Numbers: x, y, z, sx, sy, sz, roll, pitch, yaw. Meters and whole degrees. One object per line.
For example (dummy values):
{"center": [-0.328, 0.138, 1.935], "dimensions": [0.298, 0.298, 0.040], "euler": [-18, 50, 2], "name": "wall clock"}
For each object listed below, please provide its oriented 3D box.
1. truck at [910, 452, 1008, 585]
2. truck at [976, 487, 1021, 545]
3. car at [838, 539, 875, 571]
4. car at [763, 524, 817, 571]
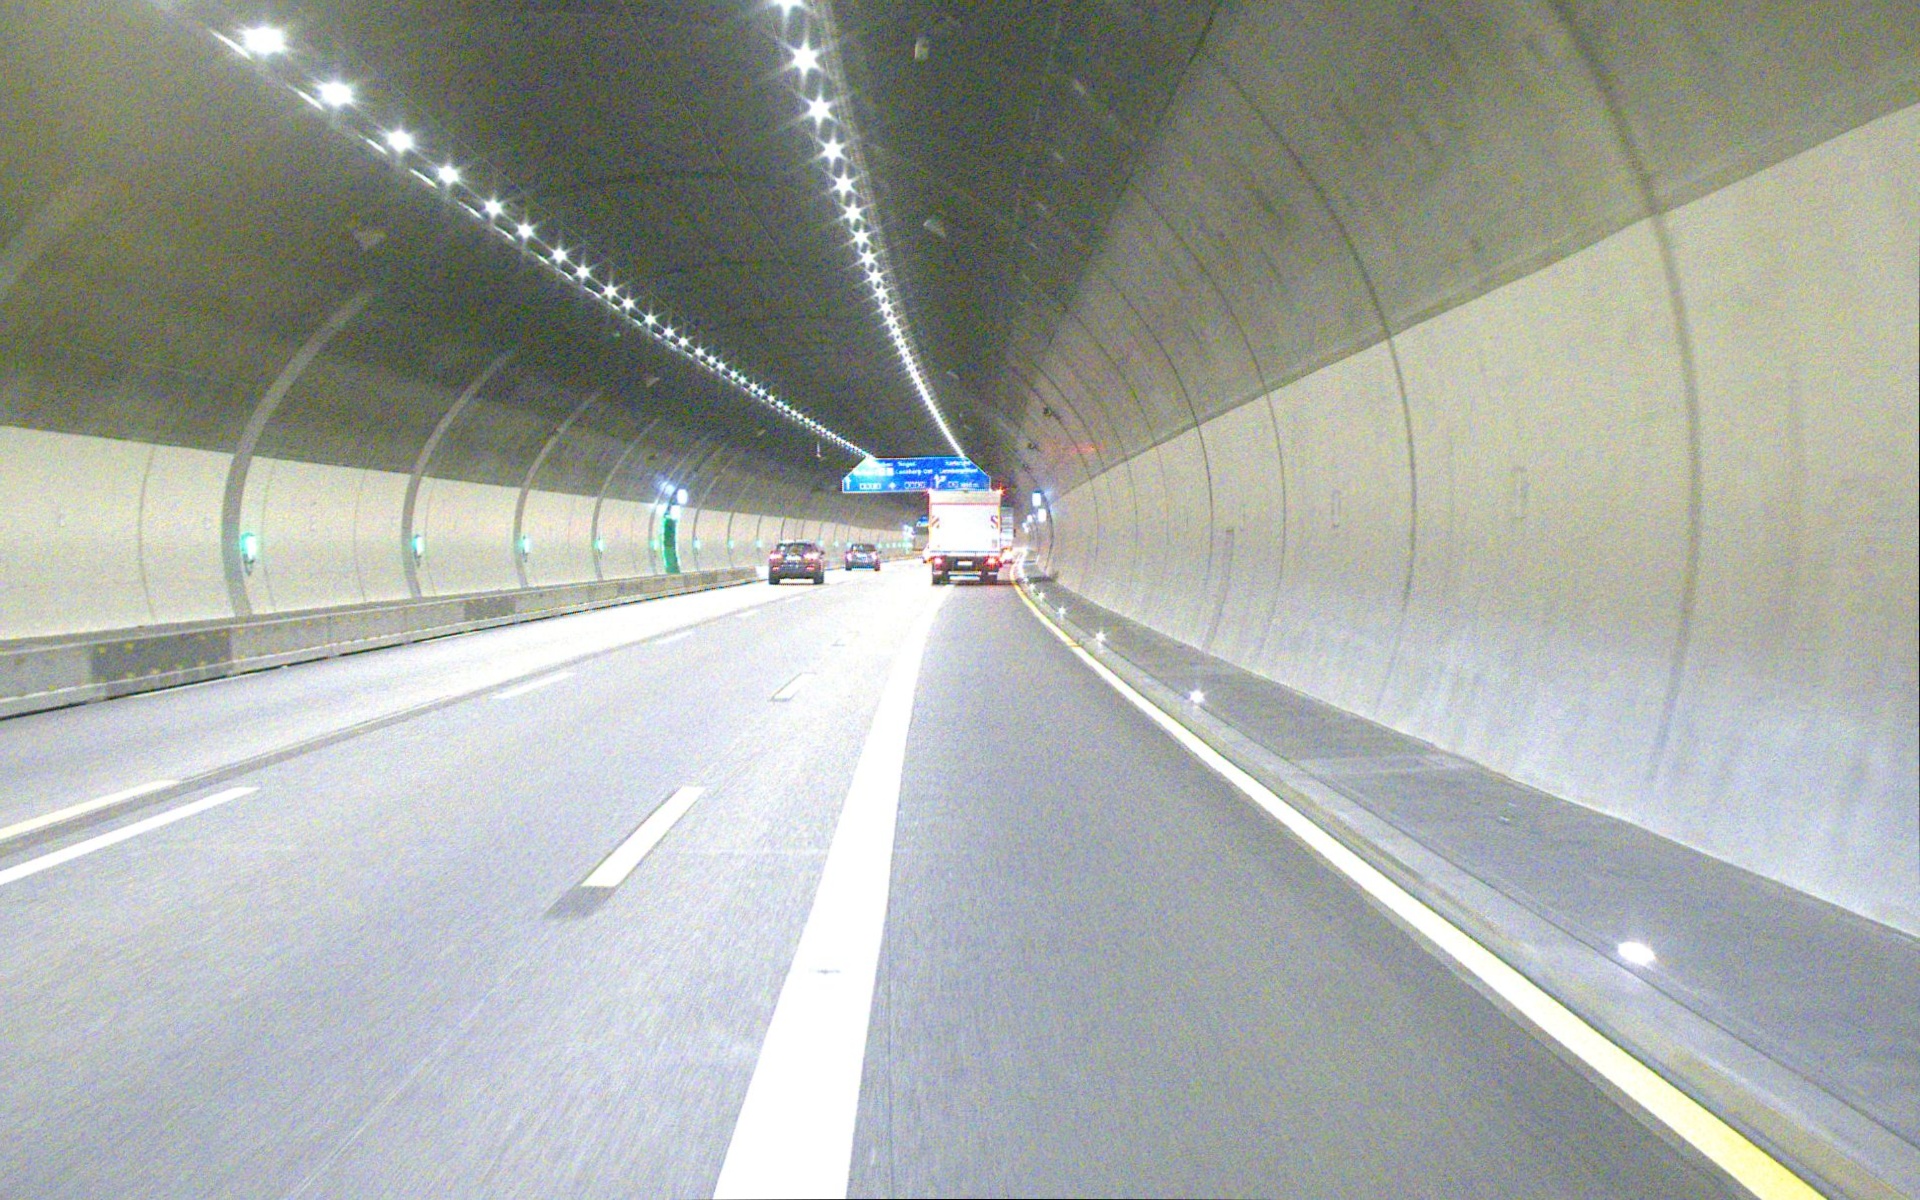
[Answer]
{"center": [-0.177, -3.063, 130.319], "dimensions": [3.278, 4.634, 17.288], "euler": [-1, 1, -1], "name": "truck"}
{"center": [2.751, -6.028, 249.106], "dimensions": [2.922, 4.034, 14.030], "euler": [-1, 1, -1], "name": "truck"}
{"center": [-5.330, -2.330, 176.978], "dimensions": [1.812, 1.514, 4.001], "euler": [0, 3, -3], "name": "car"}
{"center": [-6.031, -1.874, 122.254], "dimensions": [1.812, 1.612, 4.001], "euler": [0, 1, -1], "name": "car"}
